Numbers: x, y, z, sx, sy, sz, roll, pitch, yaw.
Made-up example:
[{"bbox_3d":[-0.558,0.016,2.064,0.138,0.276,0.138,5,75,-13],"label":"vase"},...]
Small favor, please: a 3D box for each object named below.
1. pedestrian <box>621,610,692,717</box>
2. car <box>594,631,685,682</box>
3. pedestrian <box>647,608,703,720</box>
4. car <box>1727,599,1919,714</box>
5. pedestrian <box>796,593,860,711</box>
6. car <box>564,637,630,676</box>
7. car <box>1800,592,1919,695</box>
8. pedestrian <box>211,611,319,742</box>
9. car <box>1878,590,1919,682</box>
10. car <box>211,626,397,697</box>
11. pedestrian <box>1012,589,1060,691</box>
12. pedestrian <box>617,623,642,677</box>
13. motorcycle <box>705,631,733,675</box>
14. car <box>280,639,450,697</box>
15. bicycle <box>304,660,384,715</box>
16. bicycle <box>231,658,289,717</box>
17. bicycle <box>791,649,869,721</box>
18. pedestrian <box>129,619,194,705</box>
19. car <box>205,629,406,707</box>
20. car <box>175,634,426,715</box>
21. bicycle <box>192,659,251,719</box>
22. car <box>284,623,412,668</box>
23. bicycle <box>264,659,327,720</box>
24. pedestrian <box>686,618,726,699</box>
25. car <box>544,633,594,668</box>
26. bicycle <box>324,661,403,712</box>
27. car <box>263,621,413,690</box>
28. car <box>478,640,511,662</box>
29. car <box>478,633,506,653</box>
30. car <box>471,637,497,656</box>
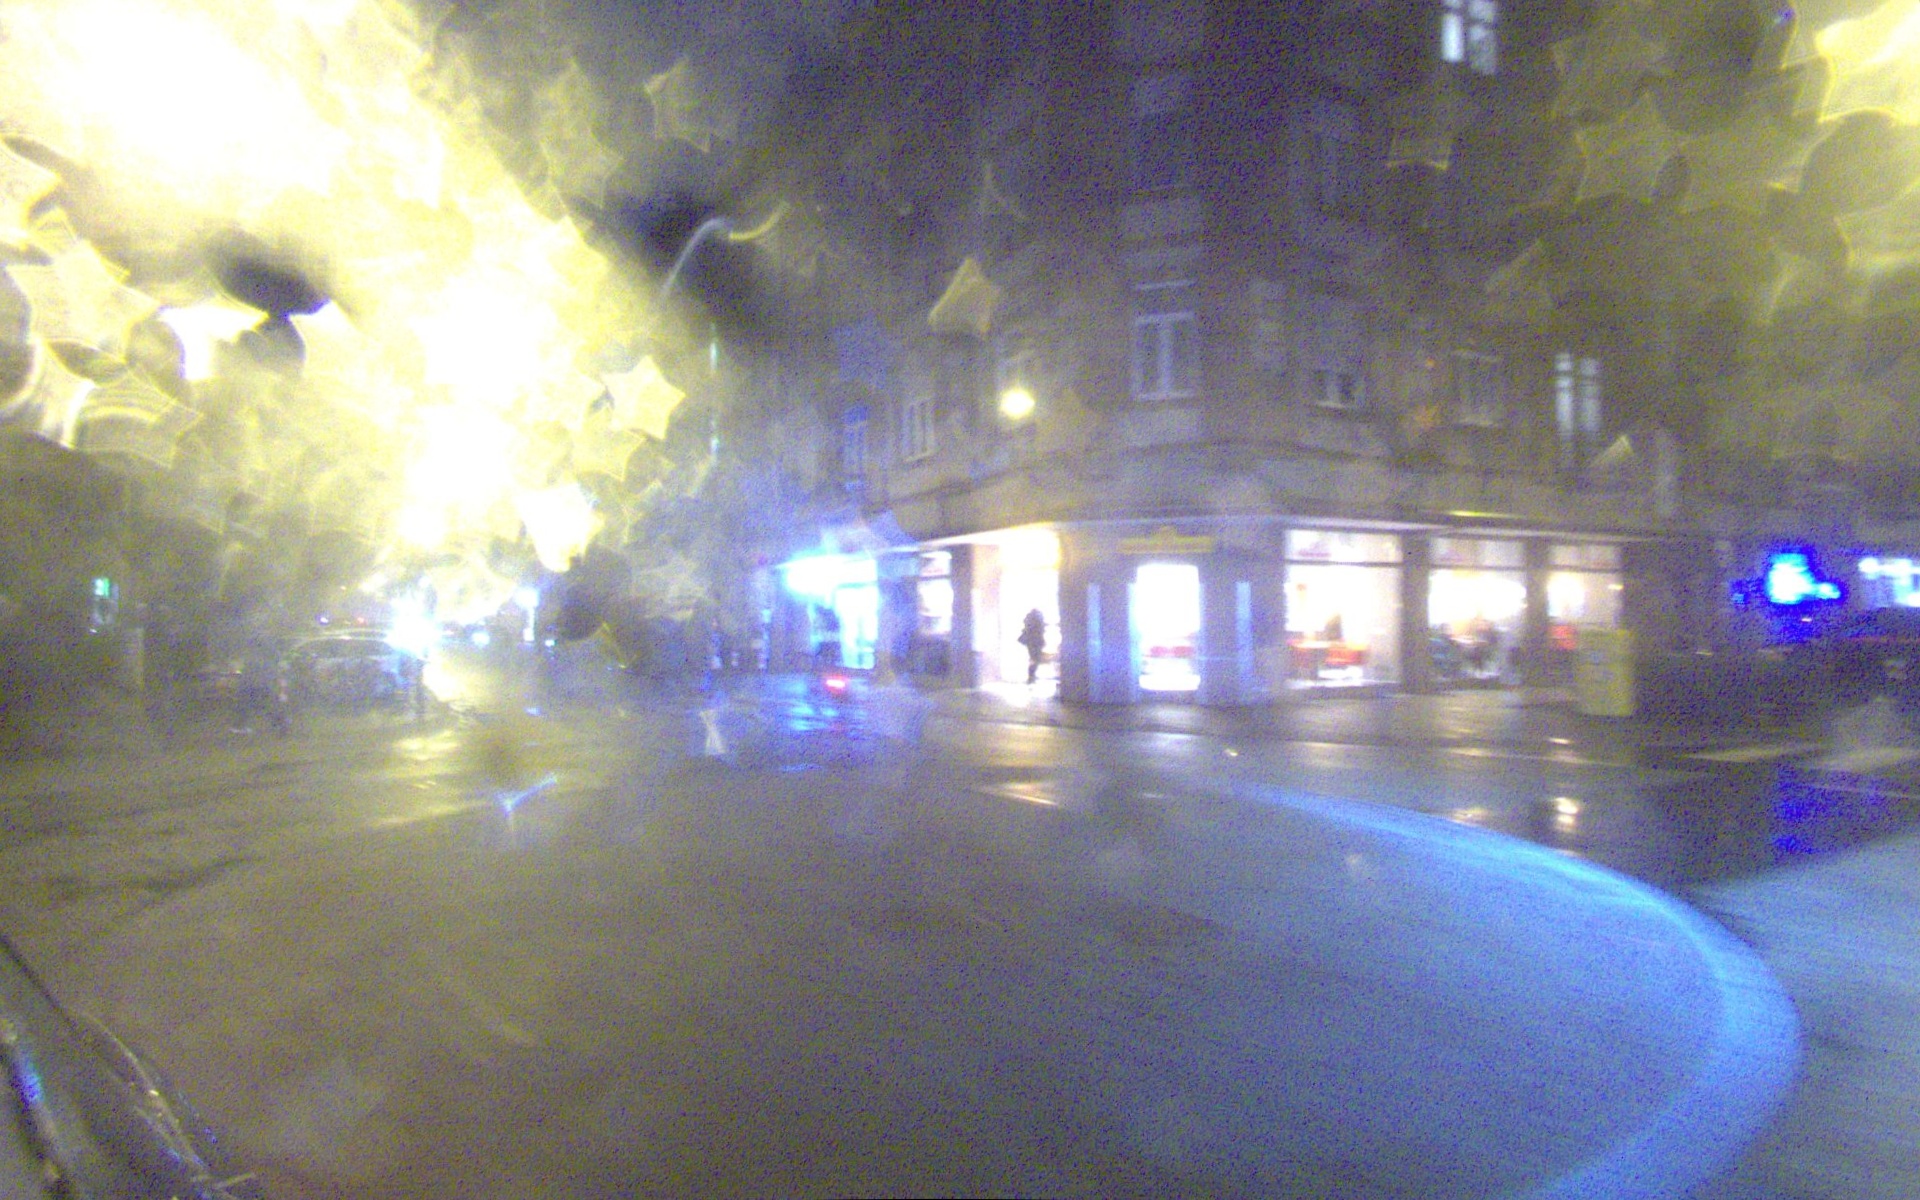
[{"bbox_3d":[-5.620,1.154,18.699,0.942,1.877,1.419,0,-3,-31],"label":"pedestrian"},{"bbox_3d":[-10.436,1.791,32.703,1.821,1.490,5.046,0,-2,-29],"label":"car"},{"bbox_3d":[-4.930,1.088,17.486,0.665,1.846,1.081,-1,-2,-28],"label":"pedestrian"},{"bbox_3d":[17.786,1.039,19.697,1.965,2.029,4.013,-2,-1,-26],"label":"car"},{"bbox_3d":[-2.139,0.831,16.305,0.702,1.825,1.129,0,-3,-26],"label":"pedestrian"},{"bbox_3d":[-15.214,2.329,42.288,1.692,1.490,4.171,0,-2,-33],"label":"car"},{"bbox_3d":[20.002,0.852,20.531,1.965,2.029,4.013,-2,-1,-26],"label":"car"},{"bbox_3d":[-10.121,1.094,14.766,0.868,1.847,0.982,-1,-2,6],"label":"pedestrian"},{"bbox_3d":[22.705,0.744,21.649,1.965,2.029,4.013,-2,-1,-26],"label":"car"},{"bbox_3d":[-17.249,1.619,26.799,1.739,1.726,3.760,-1,-3,26],"label":"car"},{"bbox_3d":[1.450,0.765,19.413,0.618,1.923,0.656,0,-3,-28],"label":"pedestrian"},{"bbox_3d":[-14.071,2.143,43.127,0.788,2.258,1.120,0,-3,-31],"label":"pedestrian"},{"bbox_3d":[-8.366,1.822,35.102,0.529,1.482,1.462,-1,-2,-30],"label":"motorcycle"},{"bbox_3d":[-17.758,2.010,30.410,1.824,1.610,4.036,-1,-3,26],"label":"car"},{"bbox_3d":[-12.391,1.754,20.356,1.632,1.034,0.334,1,-3,17],"label":"bicycle"},{"bbox_3d":[-13.429,1.666,19.409,1.642,1.101,0.332,-3,-4,35],"label":"bicycle"},{"bbox_3d":[-2.122,1.338,16.271,0.702,1.067,1.807,0,-3,-26],"label":"bicycle"},{"bbox_3d":[-17.425,1.340,22.098,0.779,1.831,0.811,0,-1,-5],"label":"pedestrian"},{"bbox_3d":[-15.821,1.623,24.670,1.762,1.726,3.707,-1,-3,26],"label":"car"},{"bbox_3d":[-14.261,1.586,22.140,1.766,1.586,4.216,-1,-4,32],"label":"car"},{"bbox_3d":[-13.731,1.635,18.805,1.642,1.034,0.332,-1,-3,35],"label":"bicycle"},{"bbox_3d":[-28.341,2.133,47.037,1.972,1.995,4.661,-1,-4,31],"label":"car"},{"bbox_3d":[-12.947,1.724,19.696,1.640,1.034,0.332,2,0,31],"label":"bicycle"},{"bbox_3d":[-5.828,1.322,23.180,0.815,1.784,0.602,-1,-2,-17],"label":"pedestrian"},{"bbox_3d":[-18.032,2.309,46.621,1.692,1.489,3.797,-2,-1,-28],"label":"car"},{"bbox_3d":[-12.335,1.789,20.929,1.630,1.034,0.334,-1,-3,15],"label":"bicycle"},{"bbox_3d":[-19.680,1.756,32.184,1.712,2.044,3.708,-1,-3,25],"label":"car"},{"bbox_3d":[-34.661,3.769,75.308,1.821,1.489,3.746,-1,-1,-30],"label":"car"},{"bbox_3d":[-39.750,3.678,85.855,1.821,1.592,3.746,-1,-1,-30],"label":"car"},{"bbox_3d":[-42.457,4.135,90.210,1.821,1.592,3.746,-1,-1,-30],"label":"car"}]
